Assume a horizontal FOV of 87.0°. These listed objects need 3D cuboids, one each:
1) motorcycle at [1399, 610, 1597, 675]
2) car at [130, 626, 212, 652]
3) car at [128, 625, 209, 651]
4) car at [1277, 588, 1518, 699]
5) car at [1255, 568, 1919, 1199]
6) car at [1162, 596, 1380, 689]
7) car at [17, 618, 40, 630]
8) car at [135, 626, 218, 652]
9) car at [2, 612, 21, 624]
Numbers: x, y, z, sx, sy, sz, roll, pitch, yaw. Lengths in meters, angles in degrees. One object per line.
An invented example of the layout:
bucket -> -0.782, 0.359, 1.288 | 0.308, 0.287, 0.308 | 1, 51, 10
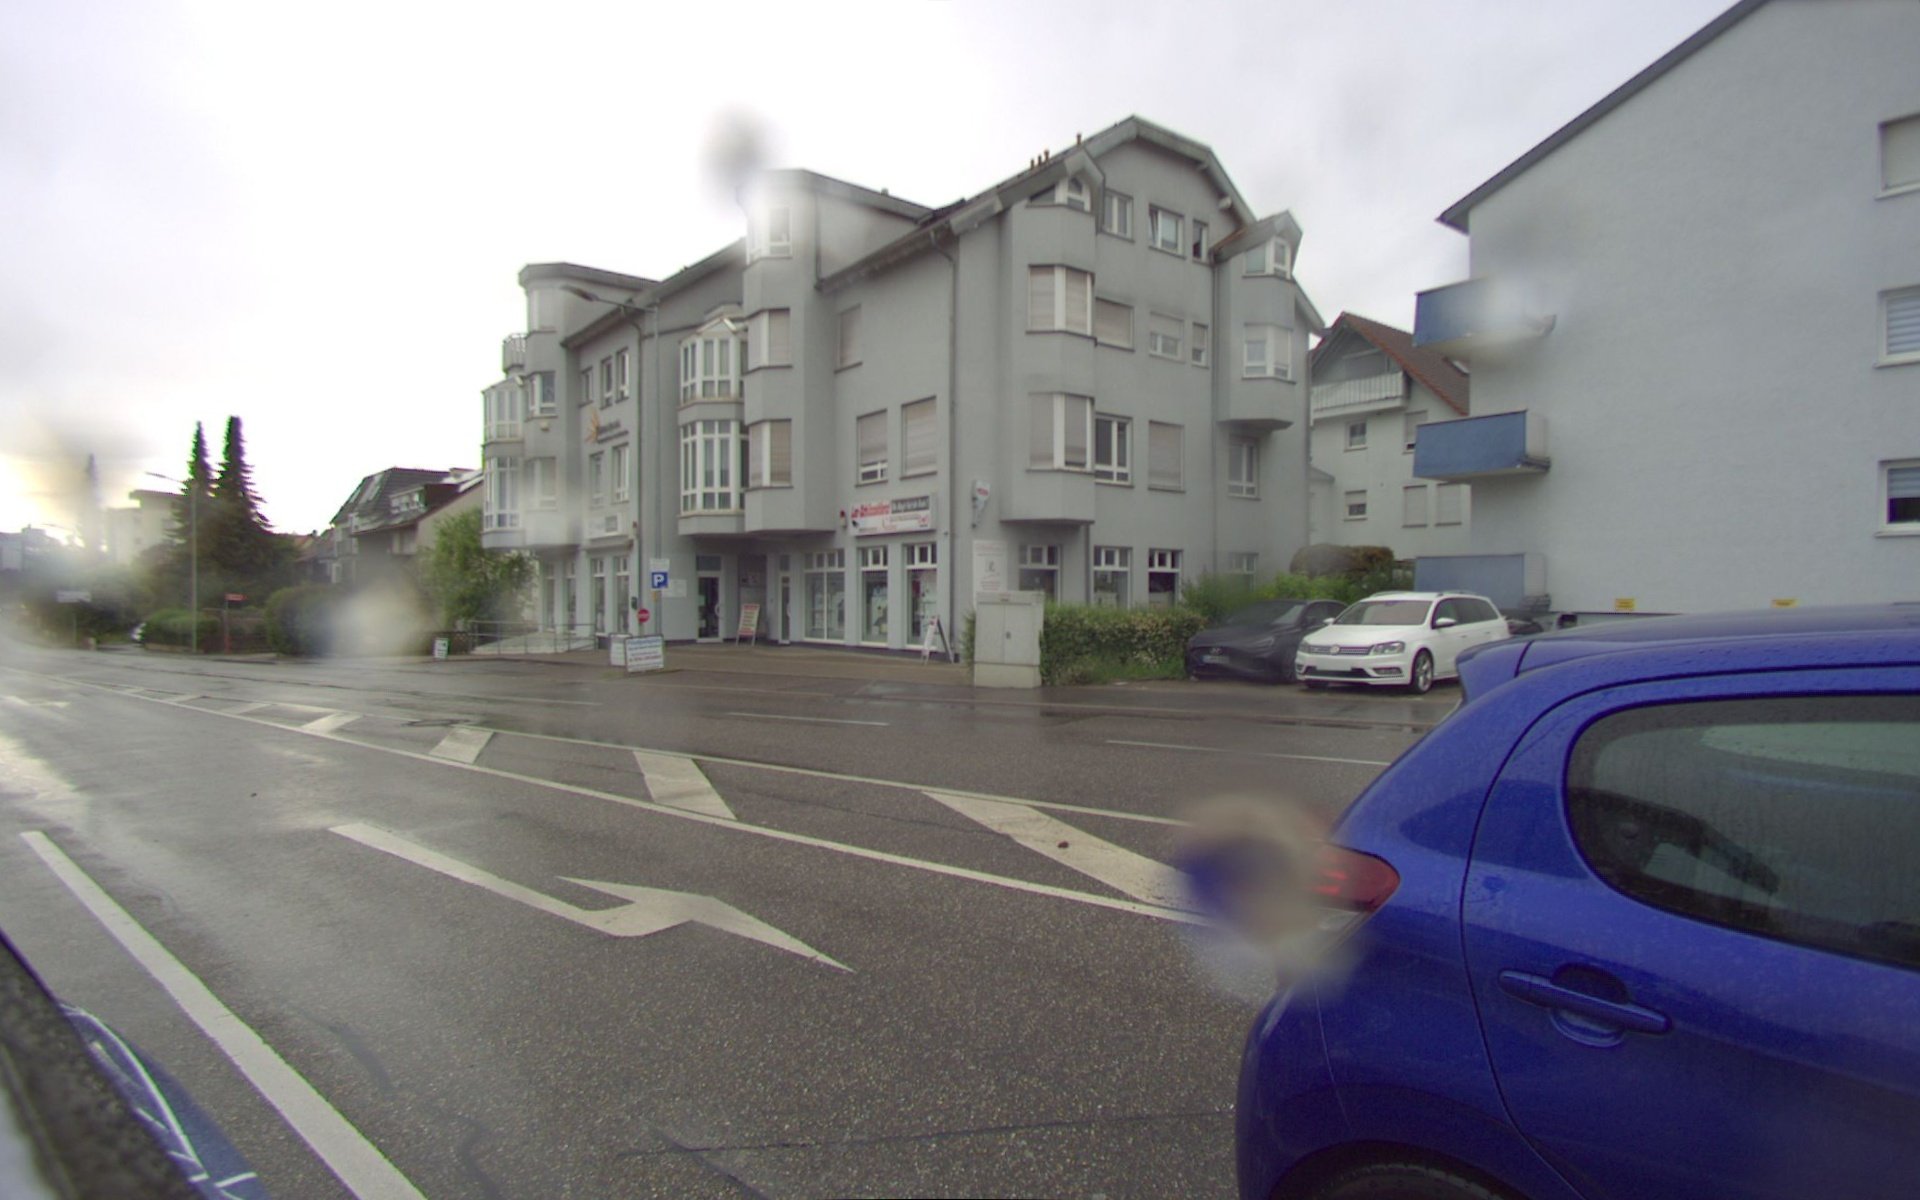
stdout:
motorcycle -> 9.763, 0.786, 18.546 | 3.112, 1.108, 0.869 | -2, -1, 25
car -> -51.368, 2.528, 65.929 | 4.096, 1.453, 1.892 | -2, 0, -42
car -> -53.163, 2.520, 68.008 | 4.058, 1.557, 2.002 | -2, 0, -44
car -> 6.841, 0.598, 15.638 | 4.169, 1.485, 1.906 | 0, -1, -43
car -> 2.253, 0.641, 1.231 | 3.269, 1.421, 1.562 | -2, 0, 42
car -> 5.466, 0.665, 17.558 | 3.940, 1.421, 1.906 | 0, -1, -43
car -> -124.328, 3.191, 135.117 | 1.968, 1.628, 4.008 | 0, -1, -38
car -> -49.634, 2.458, 64.137 | 3.978, 1.453, 1.814 | -2, 0, -44
car -> -148.784, 2.816, 158.767 | 1.824, 1.777, 4.129 | 0, -1, -39
